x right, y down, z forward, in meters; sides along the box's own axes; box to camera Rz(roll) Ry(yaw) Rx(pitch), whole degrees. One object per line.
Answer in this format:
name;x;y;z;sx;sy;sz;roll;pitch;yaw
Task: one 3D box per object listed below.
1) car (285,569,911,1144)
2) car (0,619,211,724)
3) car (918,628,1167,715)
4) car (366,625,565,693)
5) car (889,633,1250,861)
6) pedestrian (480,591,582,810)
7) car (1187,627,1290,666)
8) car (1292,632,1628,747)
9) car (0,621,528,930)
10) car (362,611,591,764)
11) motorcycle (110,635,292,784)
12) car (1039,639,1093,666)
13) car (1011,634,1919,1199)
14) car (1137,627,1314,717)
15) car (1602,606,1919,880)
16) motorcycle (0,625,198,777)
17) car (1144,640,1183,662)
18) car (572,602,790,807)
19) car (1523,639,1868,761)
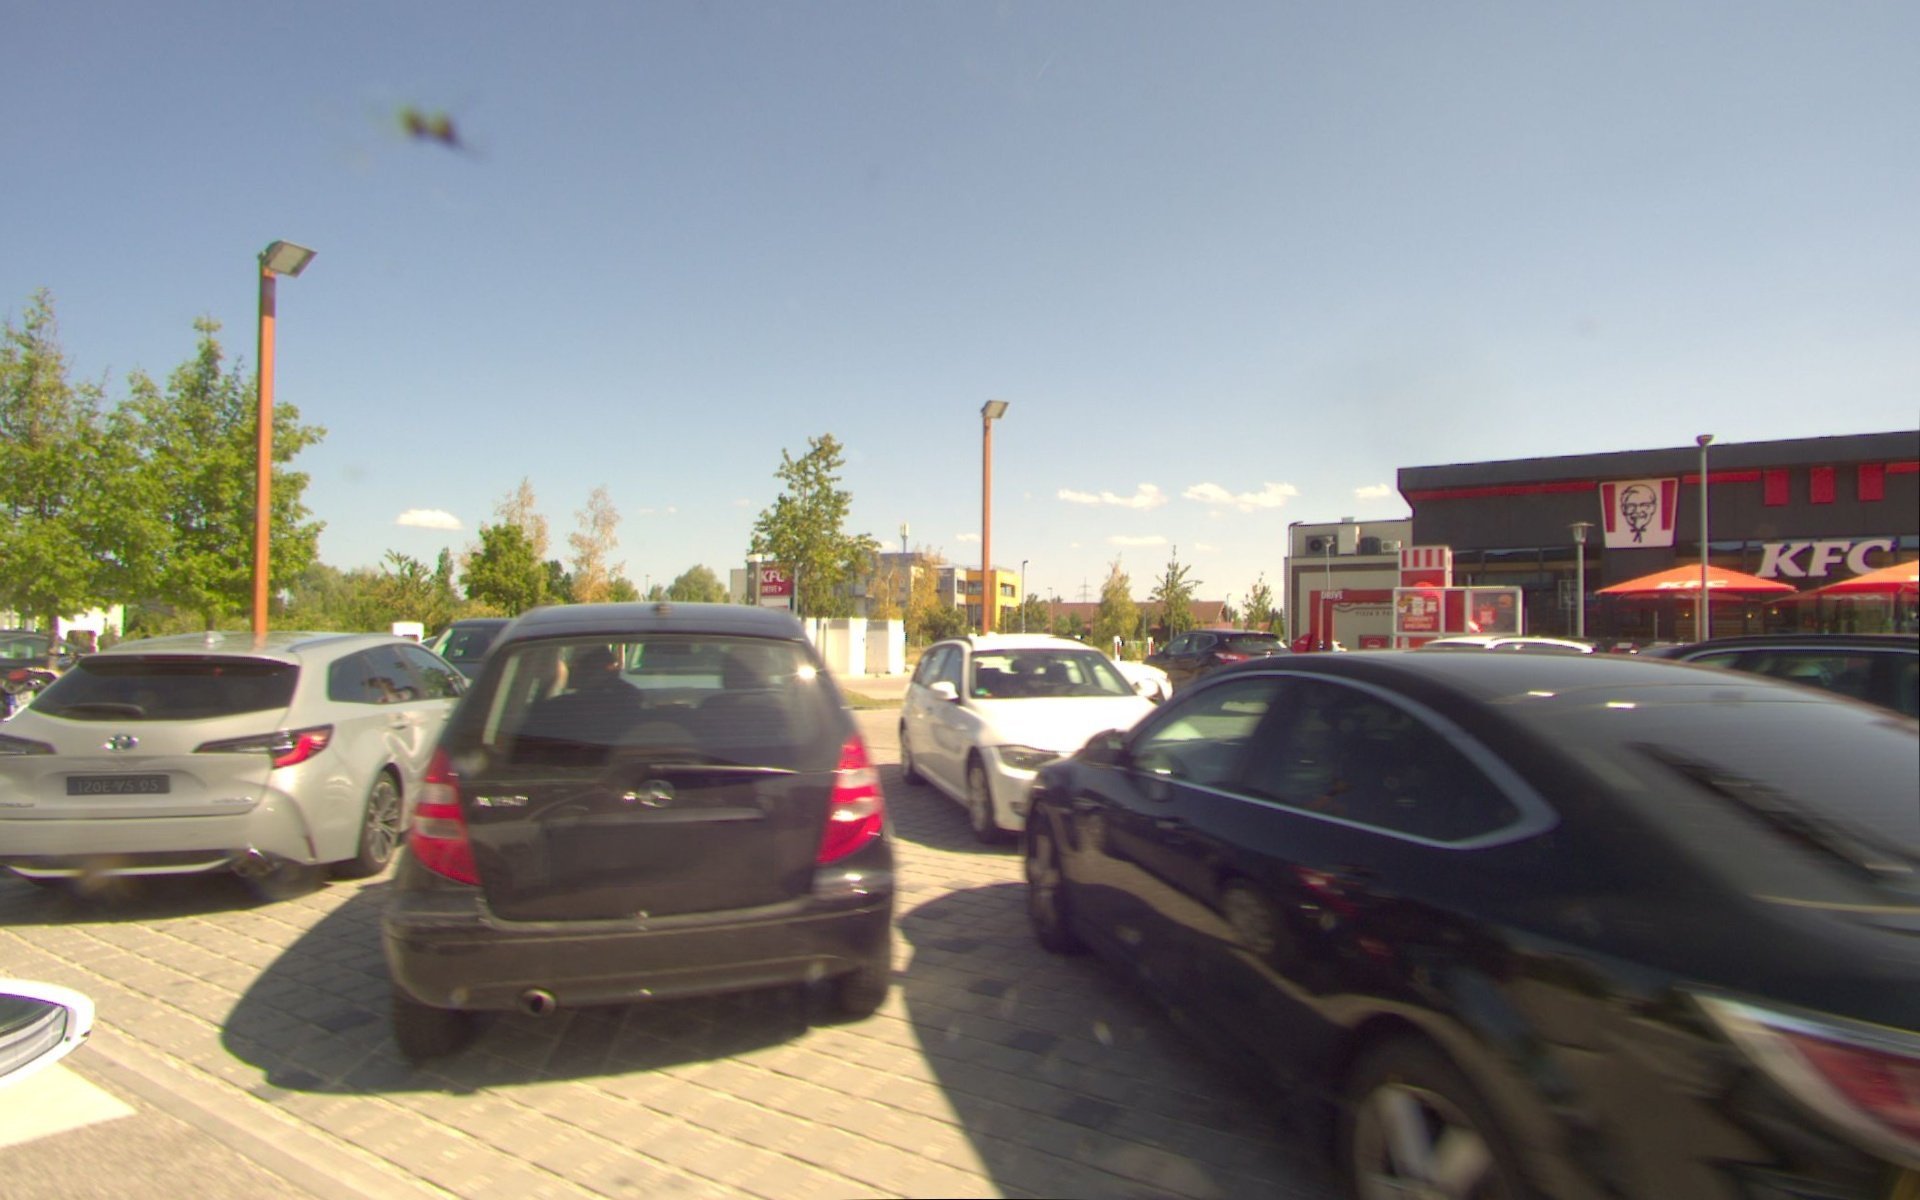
car;-1.543;0.812;4.991;1.779;1.613;3.996;1;-2;-15
car;-13.905;1.054;14.844;1.676;1.459;4.189;-3;-4;36
car;1.464;1.257;18.097;4.114;1.443;1.841;1;-2;-19
car;-12.996;1.538;26.617;1.842;1.620;4.470;0;-3;31
car;0.622;1.019;8.572;1.761;1.426;4.078;1;-2;-14
pedestrian;-3.525;0.815;8.266;0.599;1.735;0.563;1;-1;-6
car;12.766;2.101;45.959;4.318;1.707;1.635;-1;-2;29
car;7.304;1.247;14.684;4.396;1.490;1.910;1;-2;-19
car;-4.585;0.900;7.128;1.801;1.465;4.660;1;-2;-11
car;-5.775;0.962;12.505;1.862;1.556;4.185;1;-2;-16
motorcycle;-7.289;0.988;9.757;0.807;1.247;2.135;2;-1;-21
car;6.428;3.133;60.290;1.920;1.588;3.987;0;-2;27
car;1.570;0.863;3.208;1.795;1.467;4.074;1;-2;-12
car;5.185;1.388;20.132;1.725;1.596;4.084;1;-2;-13
car;6.351;0.813;5.724;1.947;1.530;4.414;1;-2;-13
motorcycle;-8.577;0.917;9.777;1.052;1.267;2.248;2;-1;-17
car;15.959;3.970;78.280;1.921;1.588;3.985;-1;-2;29
car;-2.725;0.920;10.268;1.716;1.661;4.064;1;-2;-13
car;9.662;1.246;13.196;3.933;1.420;1.817;1;-2;-20
